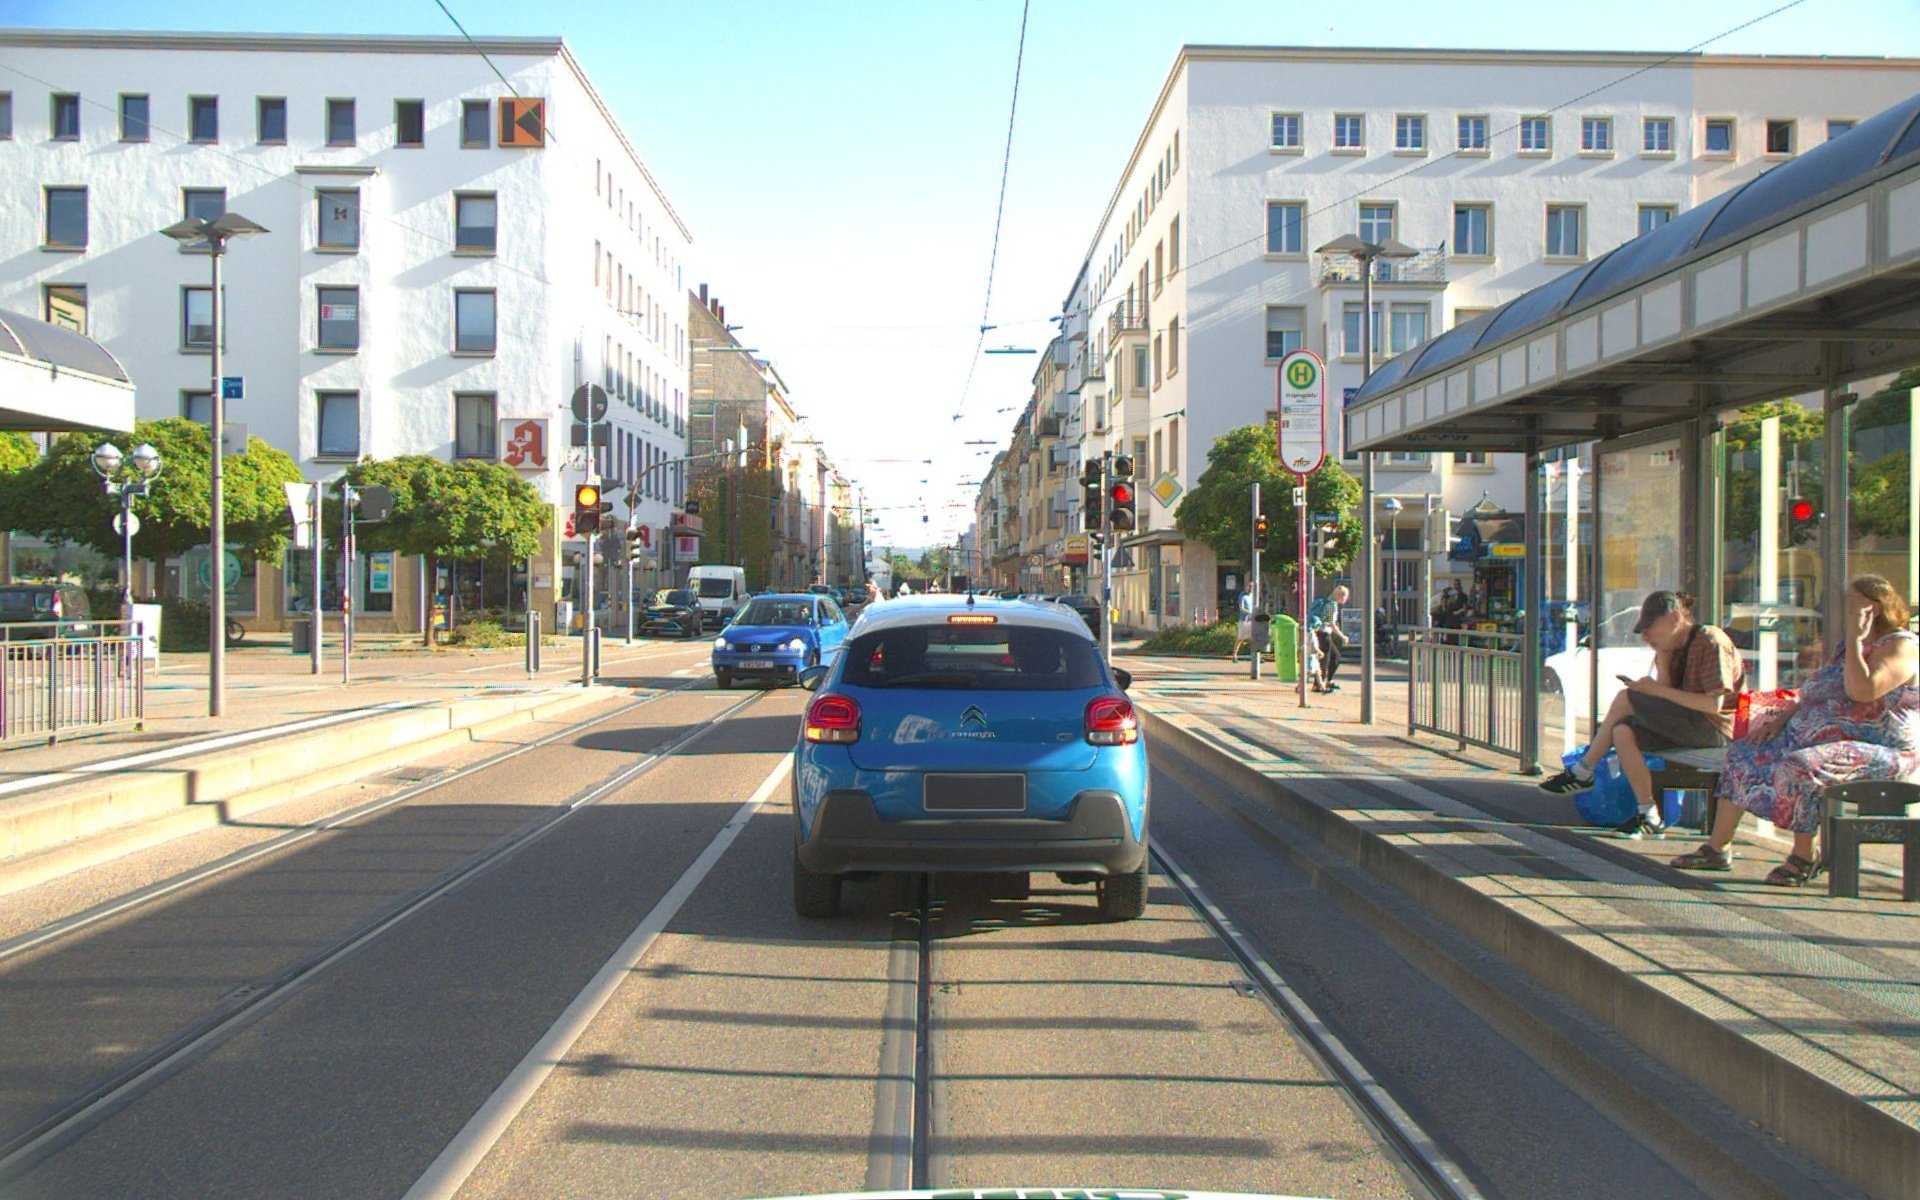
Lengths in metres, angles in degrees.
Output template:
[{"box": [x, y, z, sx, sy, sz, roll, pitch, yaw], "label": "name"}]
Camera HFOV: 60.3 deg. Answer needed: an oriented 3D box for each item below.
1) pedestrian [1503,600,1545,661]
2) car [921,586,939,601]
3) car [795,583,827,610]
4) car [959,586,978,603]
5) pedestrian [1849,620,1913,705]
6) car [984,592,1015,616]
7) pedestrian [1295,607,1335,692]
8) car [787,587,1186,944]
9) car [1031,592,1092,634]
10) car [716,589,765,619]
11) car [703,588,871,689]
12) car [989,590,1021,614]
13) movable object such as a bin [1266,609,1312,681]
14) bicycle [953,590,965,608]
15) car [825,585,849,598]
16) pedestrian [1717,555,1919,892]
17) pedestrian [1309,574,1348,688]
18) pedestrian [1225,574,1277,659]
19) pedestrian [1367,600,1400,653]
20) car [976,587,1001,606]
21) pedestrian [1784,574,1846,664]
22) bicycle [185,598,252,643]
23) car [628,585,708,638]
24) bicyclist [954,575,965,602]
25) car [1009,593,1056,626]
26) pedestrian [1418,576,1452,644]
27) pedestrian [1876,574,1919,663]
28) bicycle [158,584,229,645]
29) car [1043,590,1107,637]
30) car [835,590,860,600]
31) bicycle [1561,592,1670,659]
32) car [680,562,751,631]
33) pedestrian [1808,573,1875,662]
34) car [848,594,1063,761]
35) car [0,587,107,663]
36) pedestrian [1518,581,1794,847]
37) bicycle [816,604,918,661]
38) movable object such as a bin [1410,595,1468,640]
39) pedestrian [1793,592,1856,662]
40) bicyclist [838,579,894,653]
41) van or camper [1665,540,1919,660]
[{"box": [13.767, 0.744, 40.394, 0.715, 1.434, 0.755, 1, 3, -1], "label": "pedestrian"}, {"box": [-3.605, -0.740, 200.409, 1.954, 1.809, 3.996, 0, 0, -5], "label": "car"}, {"box": [-11.697, -0.295, 129.977, 1.965, 2.049, 4.690, 1, 0, 1], "label": "car"}, {"box": [0.927, -0.566, 177.017, 1.953, 1.803, 3.999, 0, 0, -1], "label": "car"}, {"box": [17.733, 1.193, 31.847, 0.882, 1.613, 0.662, 0, 0, 3], "label": "pedestrian"}, {"box": [2.685, 0.248, 112.870, 1.953, 1.579, 3.999, 0, 0, -1], "label": "car"}, {"box": [5.361, 0.742, 25.008, 0.546, 1.247, 0.527, 1, -1, 10], "label": "pedestrian"}, {"box": [0.086, 0.703, 9.011, 1.693, 1.508, 3.826, 1, 0, -1], "label": "car"}, {"box": [3.650, 0.452, 59.948, 1.953, 1.489, 4.000, 0, 0, 0], "label": "car"}, {"box": [-10.742, 0.194, 81.151, 1.953, 1.422, 4.155, 1, 0, -2], "label": "car"}, {"box": [-2.768, 0.577, 27.378, 1.631, 1.513, 4.003, 1, 0, 11], "label": "car"}, {"box": [2.843, 0.107, 105.275, 1.953, 1.489, 4.504, 0, 0, 0], "label": "car"}, {"box": [3.714, 0.506, 18.711, 0.439, 0.800, 0.489, 0, 0, 2], "label": "movable object such as a bin"}, {"box": [-0.051, -0.076, 127.881, 0.901, 1.413, 3.131, 0, 0, 0], "label": "bicycle"}, {"box": [-11.484, -0.759, 155.034, 1.953, 1.176, 4.000, 0, 0, 0], "label": "car"}, {"box": [3.848, 0.517, 7.118, 0.841, 1.357, 0.623, 3, -1, -1], "label": "pedestrian"}, {"box": [5.827, 0.490, 26.184, 0.546, 1.775, 0.527, 1, -1, 10], "label": "pedestrian"}, {"box": [6.709, 0.383, 38.173, 0.961, 1.910, 1.128, 0, -1, -3], "label": "pedestrian"}, {"box": [10.863, 0.673, 42.420, 0.725, 1.339, 0.628, 0, 0, 23], "label": "pedestrian"}, {"box": [2.320, -0.304, 136.281, 1.953, 1.489, 4.000, 0, 0, 0], "label": "car"}, {"box": [16.445, 0.356, 31.812, 0.882, 1.714, 0.696, 0, 0, 8], "label": "pedestrian"}, {"box": [-20.593, 0.540, 45.996, 0.605, 1.211, 2.621, 0, 0, 3], "label": "bicycle"}, {"box": [-9.740, 0.384, 55.456, 1.953, 1.596, 4.401, 3, 0, -2], "label": "car"}, {"box": [-0.018, -0.869, 128.032, 0.793, 2.049, 0.922, 1, -1, -1], "label": "bicyclist"}, {"box": [3.329, 0.413, 76.564, 1.953, 1.489, 4.000, 0, 0, 0], "label": "car"}, {"box": [13.152, 0.276, 45.822, 0.768, 1.871, 0.678, 0, 0, 2], "label": "pedestrian"}, {"box": [17.353, 0.334, 30.211, 0.882, 1.613, 0.662, 0, 0, 3], "label": "pedestrian"}, {"box": [-21.303, 0.384, 46.010, 0.605, 1.635, 2.621, 0, 0, 4], "label": "bicycle"}, {"box": [3.810, 0.429, 55.594, 1.870, 1.489, 4.000, 0, 0, 0], "label": "car"}, {"box": [-12.764, -0.593, 187.921, 1.951, 1.176, 4.518, 0, 0, 9], "label": "car"}, {"box": [15.912, 0.616, 40.187, 2.336, 1.558, 0.726, 2, 0, -2], "label": "bicycle"}, {"box": [-9.667, -0.162, 65.819, 2.043, 2.586, 6.203, 1, 0, -2], "label": "car"}, {"box": [16.211, 0.316, 30.434, 0.882, 1.613, 0.662, 0, 0, 3], "label": "pedestrian"}, {"box": [-0.074, 0.706, 17.539, 1.944, 1.490, 4.814, 1, 0, -1], "label": "car"}, {"box": [-22.370, 0.570, 38.652, 3.906, 1.736, 1.825, 0, 0, -1], "label": "car"}, {"box": [3.548, 0.559, 8.517, 0.978, 1.246, 0.923, 3, 0, -1], "label": "pedestrian"}, {"box": [-1.882, 0.650, 33.577, 1.946, 1.132, 0.724, 0, 0, -26], "label": "bicycle"}, {"box": [12.613, 0.458, 43.582, 1.174, 1.173, 1.217, 0, 0, 0], "label": "movable object such as a bin"}, {"box": [16.240, 0.494, 31.090, 0.882, 1.302, 0.605, 0, 0, 6], "label": "pedestrian"}, {"box": [-1.908, 0.321, 33.561, 0.863, 1.481, 0.823, 1, -1, -26], "label": "bicyclist"}, {"box": [20.998, -0.033, 39.876, 6.976, 2.795, 2.371, 0, 2, 0], "label": "van or camper"}]
